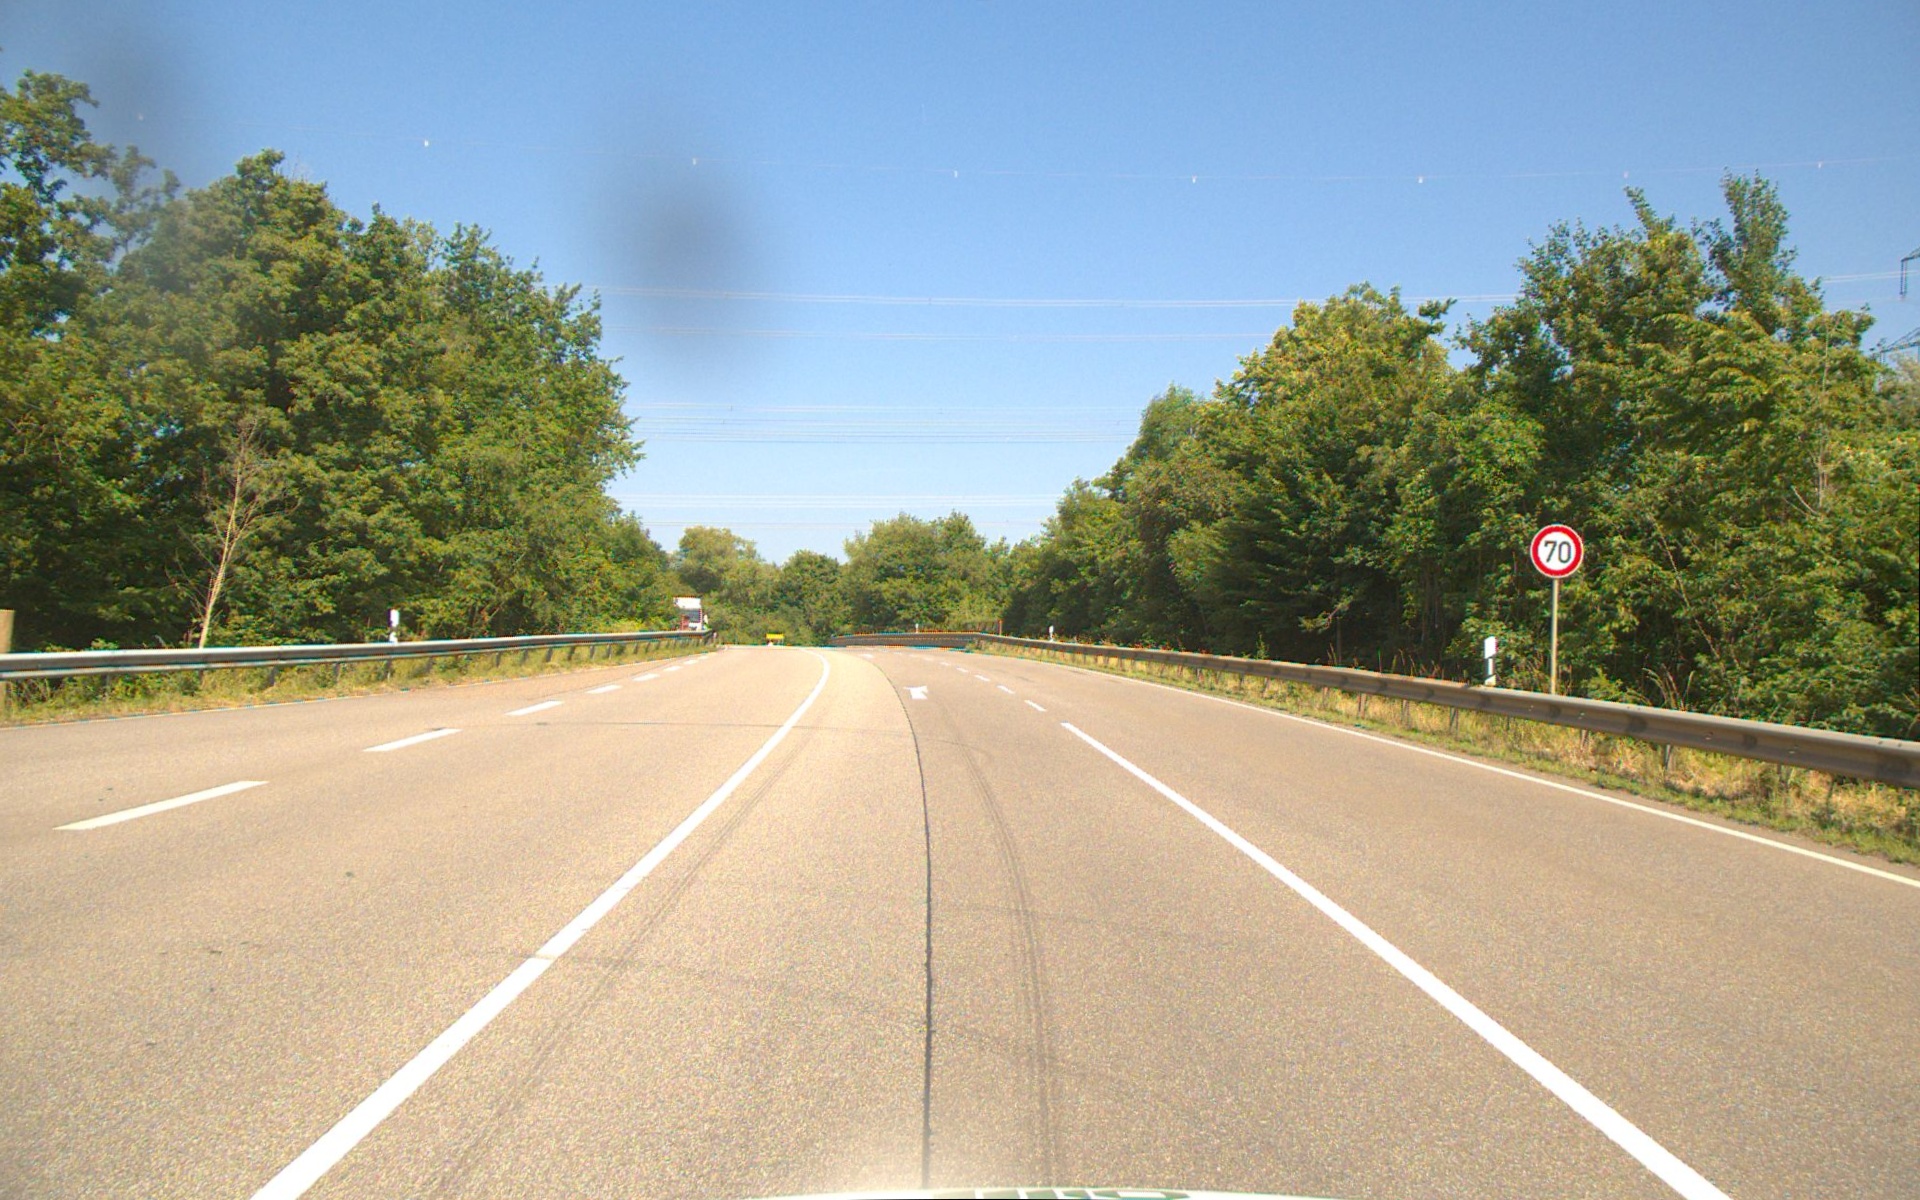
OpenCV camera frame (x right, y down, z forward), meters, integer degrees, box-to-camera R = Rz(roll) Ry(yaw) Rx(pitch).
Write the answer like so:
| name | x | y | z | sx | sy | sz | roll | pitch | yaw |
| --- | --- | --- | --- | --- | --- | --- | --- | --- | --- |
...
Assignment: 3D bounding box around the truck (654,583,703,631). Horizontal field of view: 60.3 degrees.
| name | x | y | z | sx | sy | sz | roll | pitch | yaw |
| --- | --- | --- | --- | --- | --- | --- | --- | --- | --- |
| truck | -24.460 | 0.639 | 143.588 | 2.733 | 4.105 | 5.810 | 1 | -1 | -24 |
